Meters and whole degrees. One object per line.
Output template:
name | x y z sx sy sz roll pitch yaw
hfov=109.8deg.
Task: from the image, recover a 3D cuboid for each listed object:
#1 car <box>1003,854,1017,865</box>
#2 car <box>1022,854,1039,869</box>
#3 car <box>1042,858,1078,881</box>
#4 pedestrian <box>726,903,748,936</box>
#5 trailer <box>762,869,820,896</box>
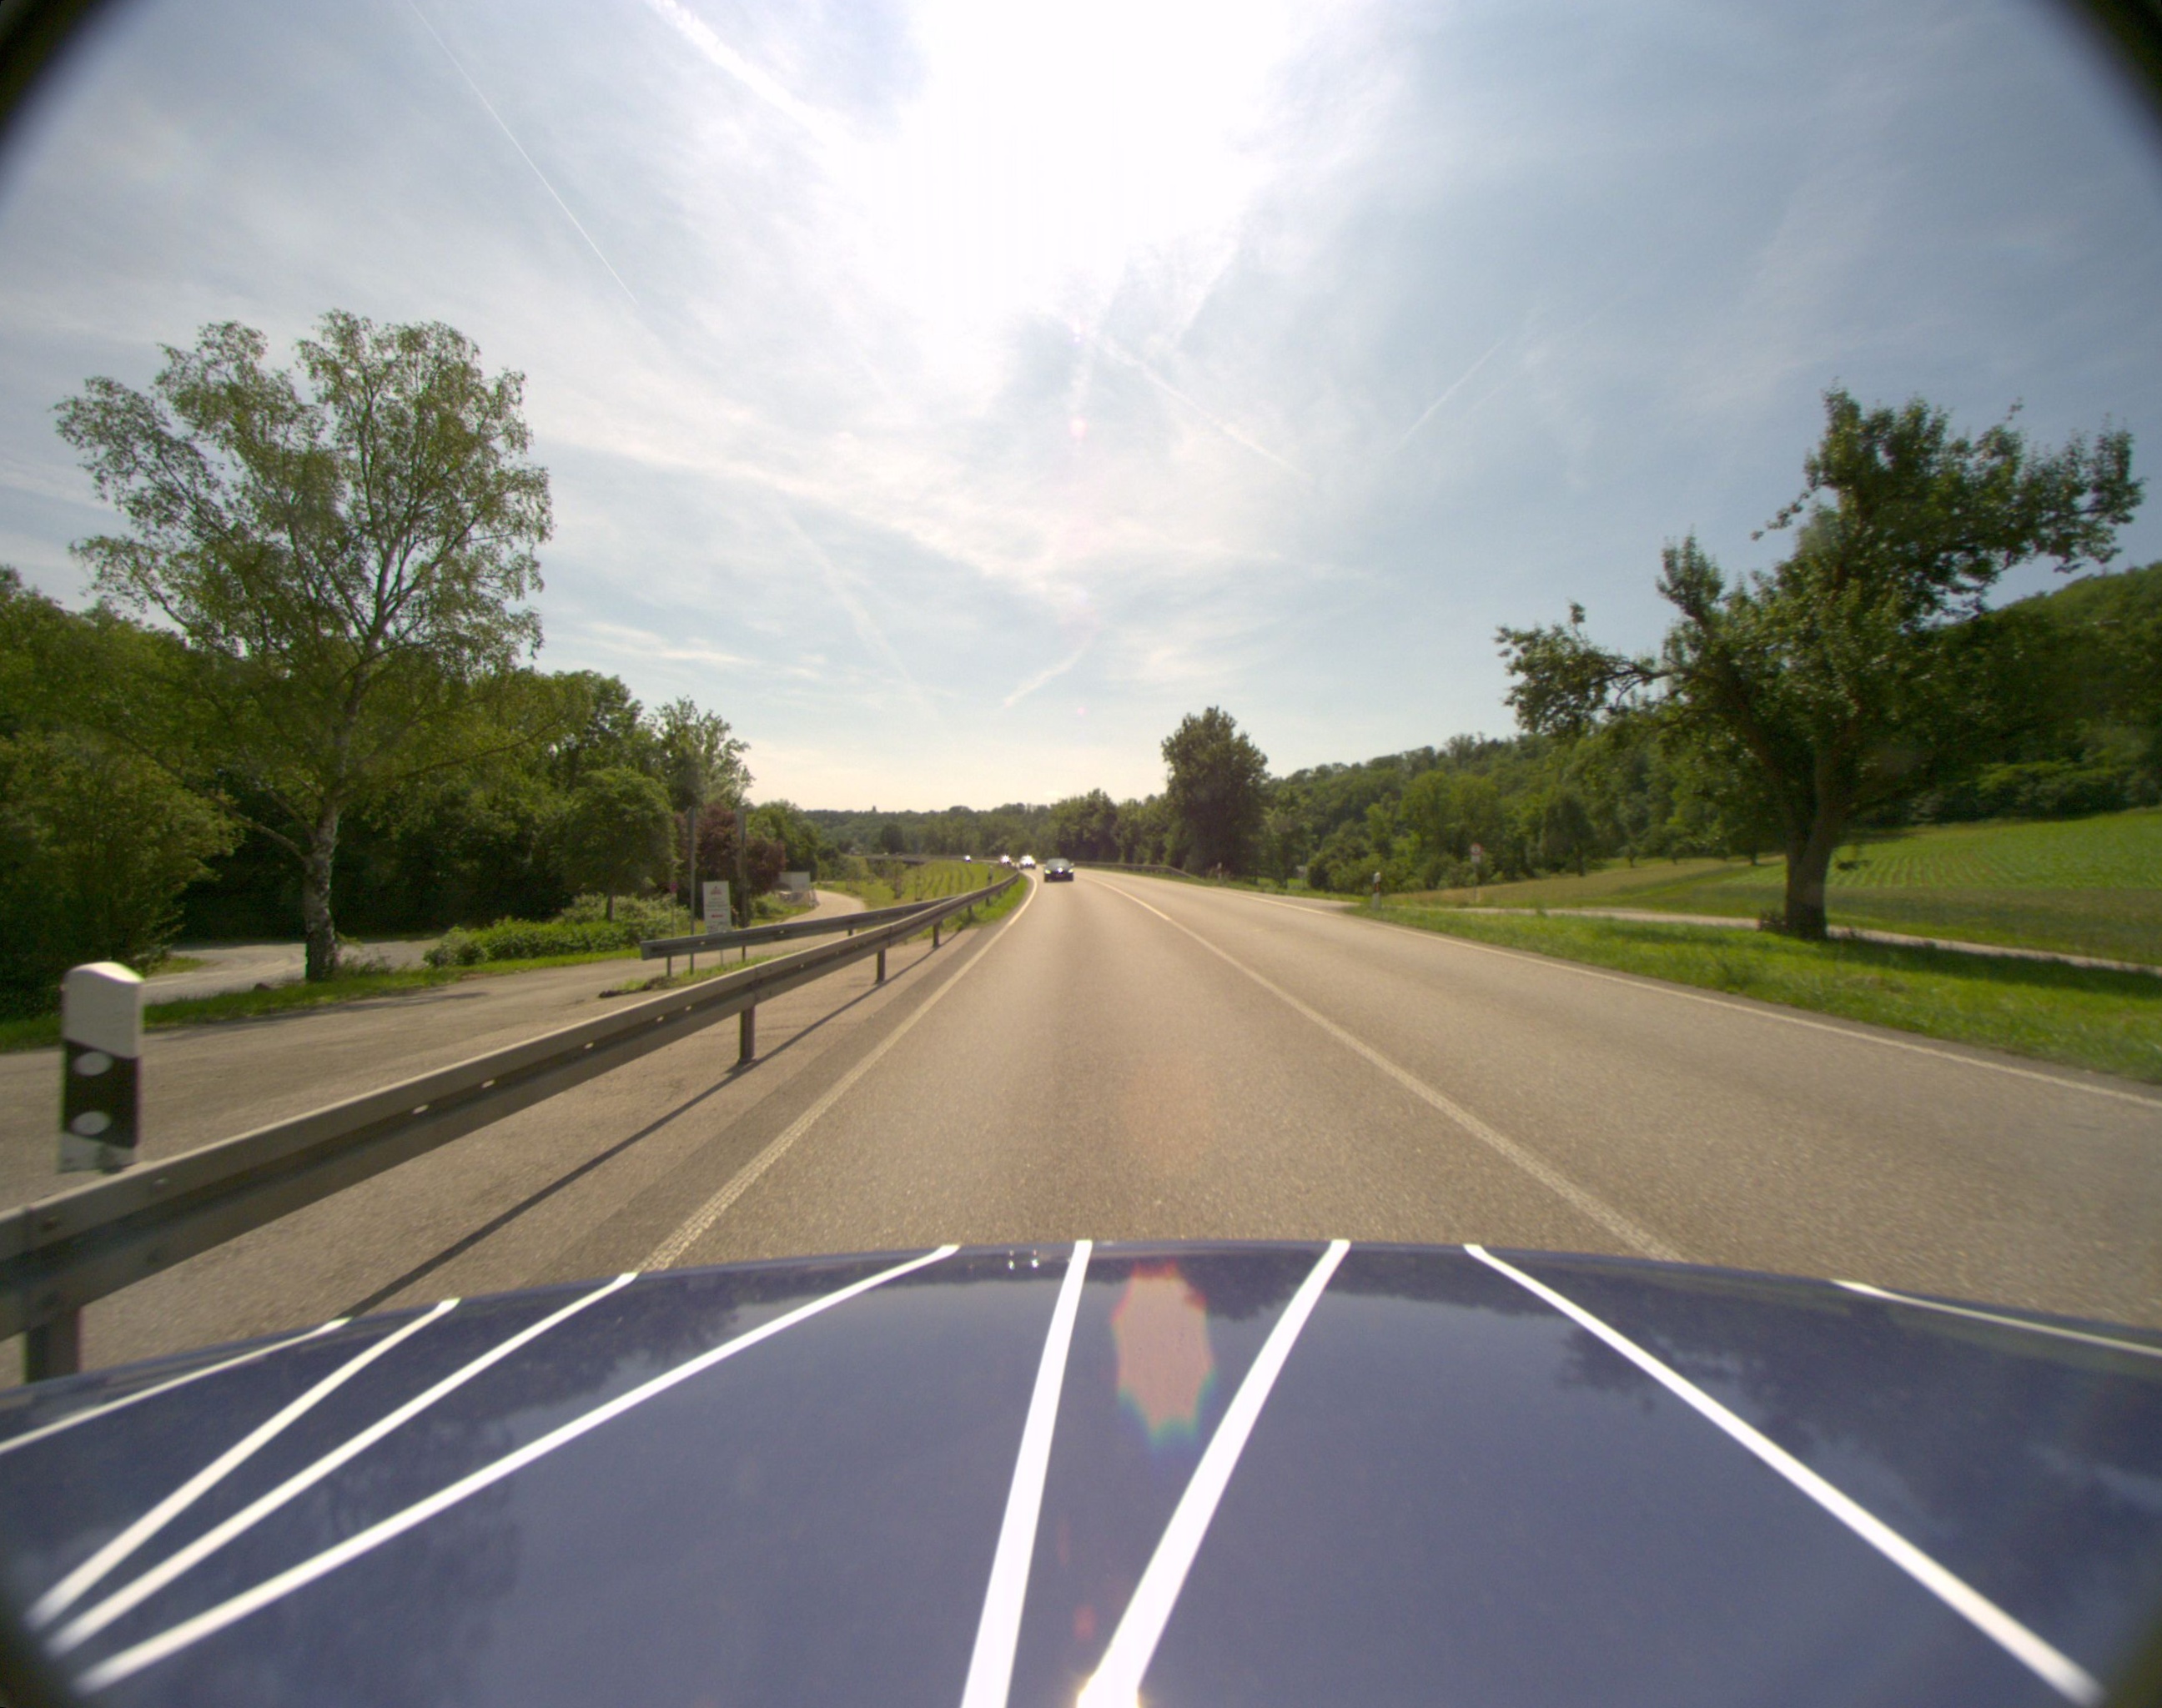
car | -12.237 0.894 131.266 1.982 1.723 3.994 -2 2 -12
car | -6.435 0.951 96.623 1.981 1.779 3.998 -2 0 -7
car | -1.387 0.953 48.379 1.981 1.333 3.997 -1 1 -6
pedestrian | -19.691 3.733 43.499 0.887 1.800 0.959 1 0 -5
trailer | -37.958 3.610 99.110 2.733 3.308 11.862 -2 1 -42
